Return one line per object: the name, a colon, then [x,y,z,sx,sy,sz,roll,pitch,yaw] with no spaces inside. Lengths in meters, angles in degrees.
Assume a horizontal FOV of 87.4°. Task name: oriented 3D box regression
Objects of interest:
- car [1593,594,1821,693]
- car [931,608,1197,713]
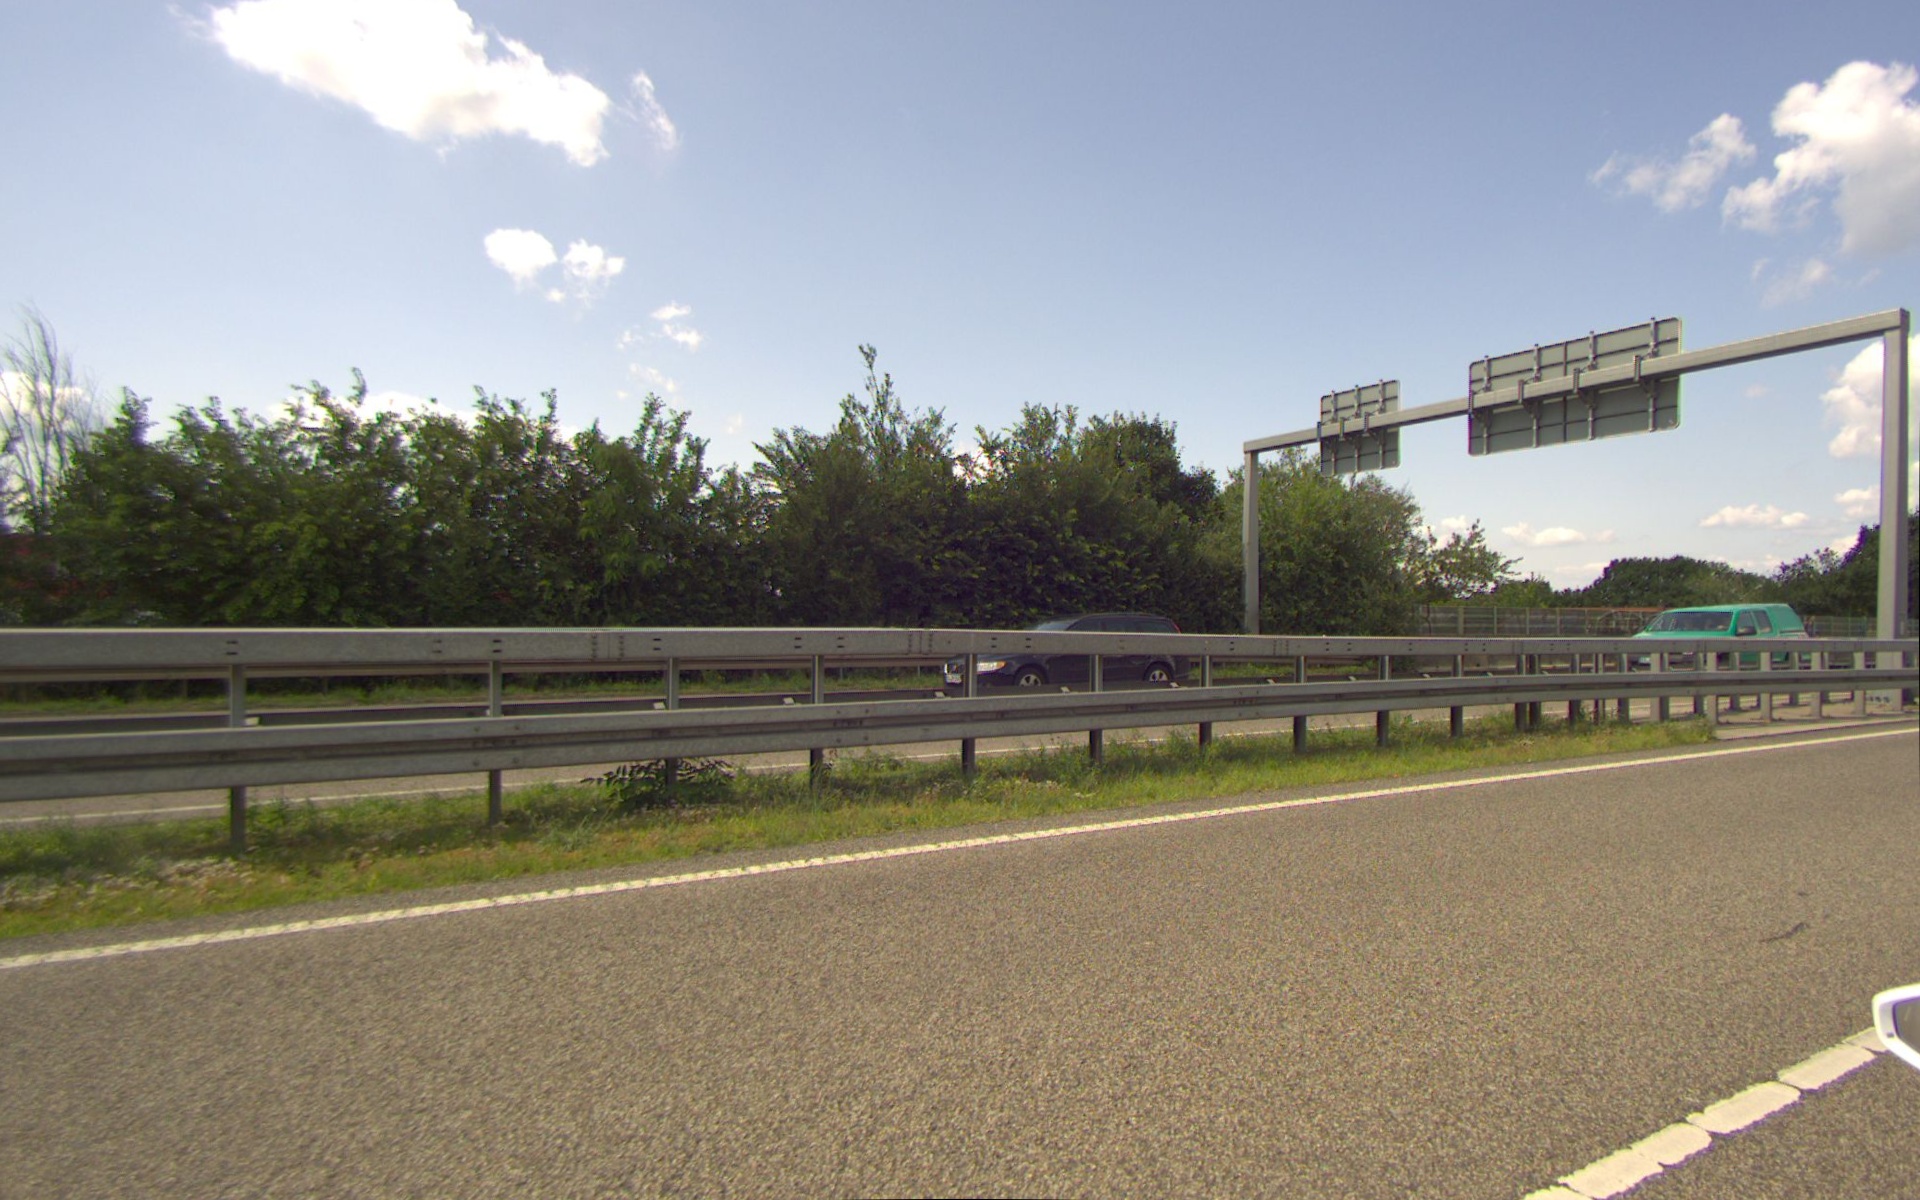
car: [16.095,0.900,21.575,5.330,1.888,1.984,2,0,-31]
car: [1.873,1.012,17.637,4.503,1.596,1.693,2,0,-31]
